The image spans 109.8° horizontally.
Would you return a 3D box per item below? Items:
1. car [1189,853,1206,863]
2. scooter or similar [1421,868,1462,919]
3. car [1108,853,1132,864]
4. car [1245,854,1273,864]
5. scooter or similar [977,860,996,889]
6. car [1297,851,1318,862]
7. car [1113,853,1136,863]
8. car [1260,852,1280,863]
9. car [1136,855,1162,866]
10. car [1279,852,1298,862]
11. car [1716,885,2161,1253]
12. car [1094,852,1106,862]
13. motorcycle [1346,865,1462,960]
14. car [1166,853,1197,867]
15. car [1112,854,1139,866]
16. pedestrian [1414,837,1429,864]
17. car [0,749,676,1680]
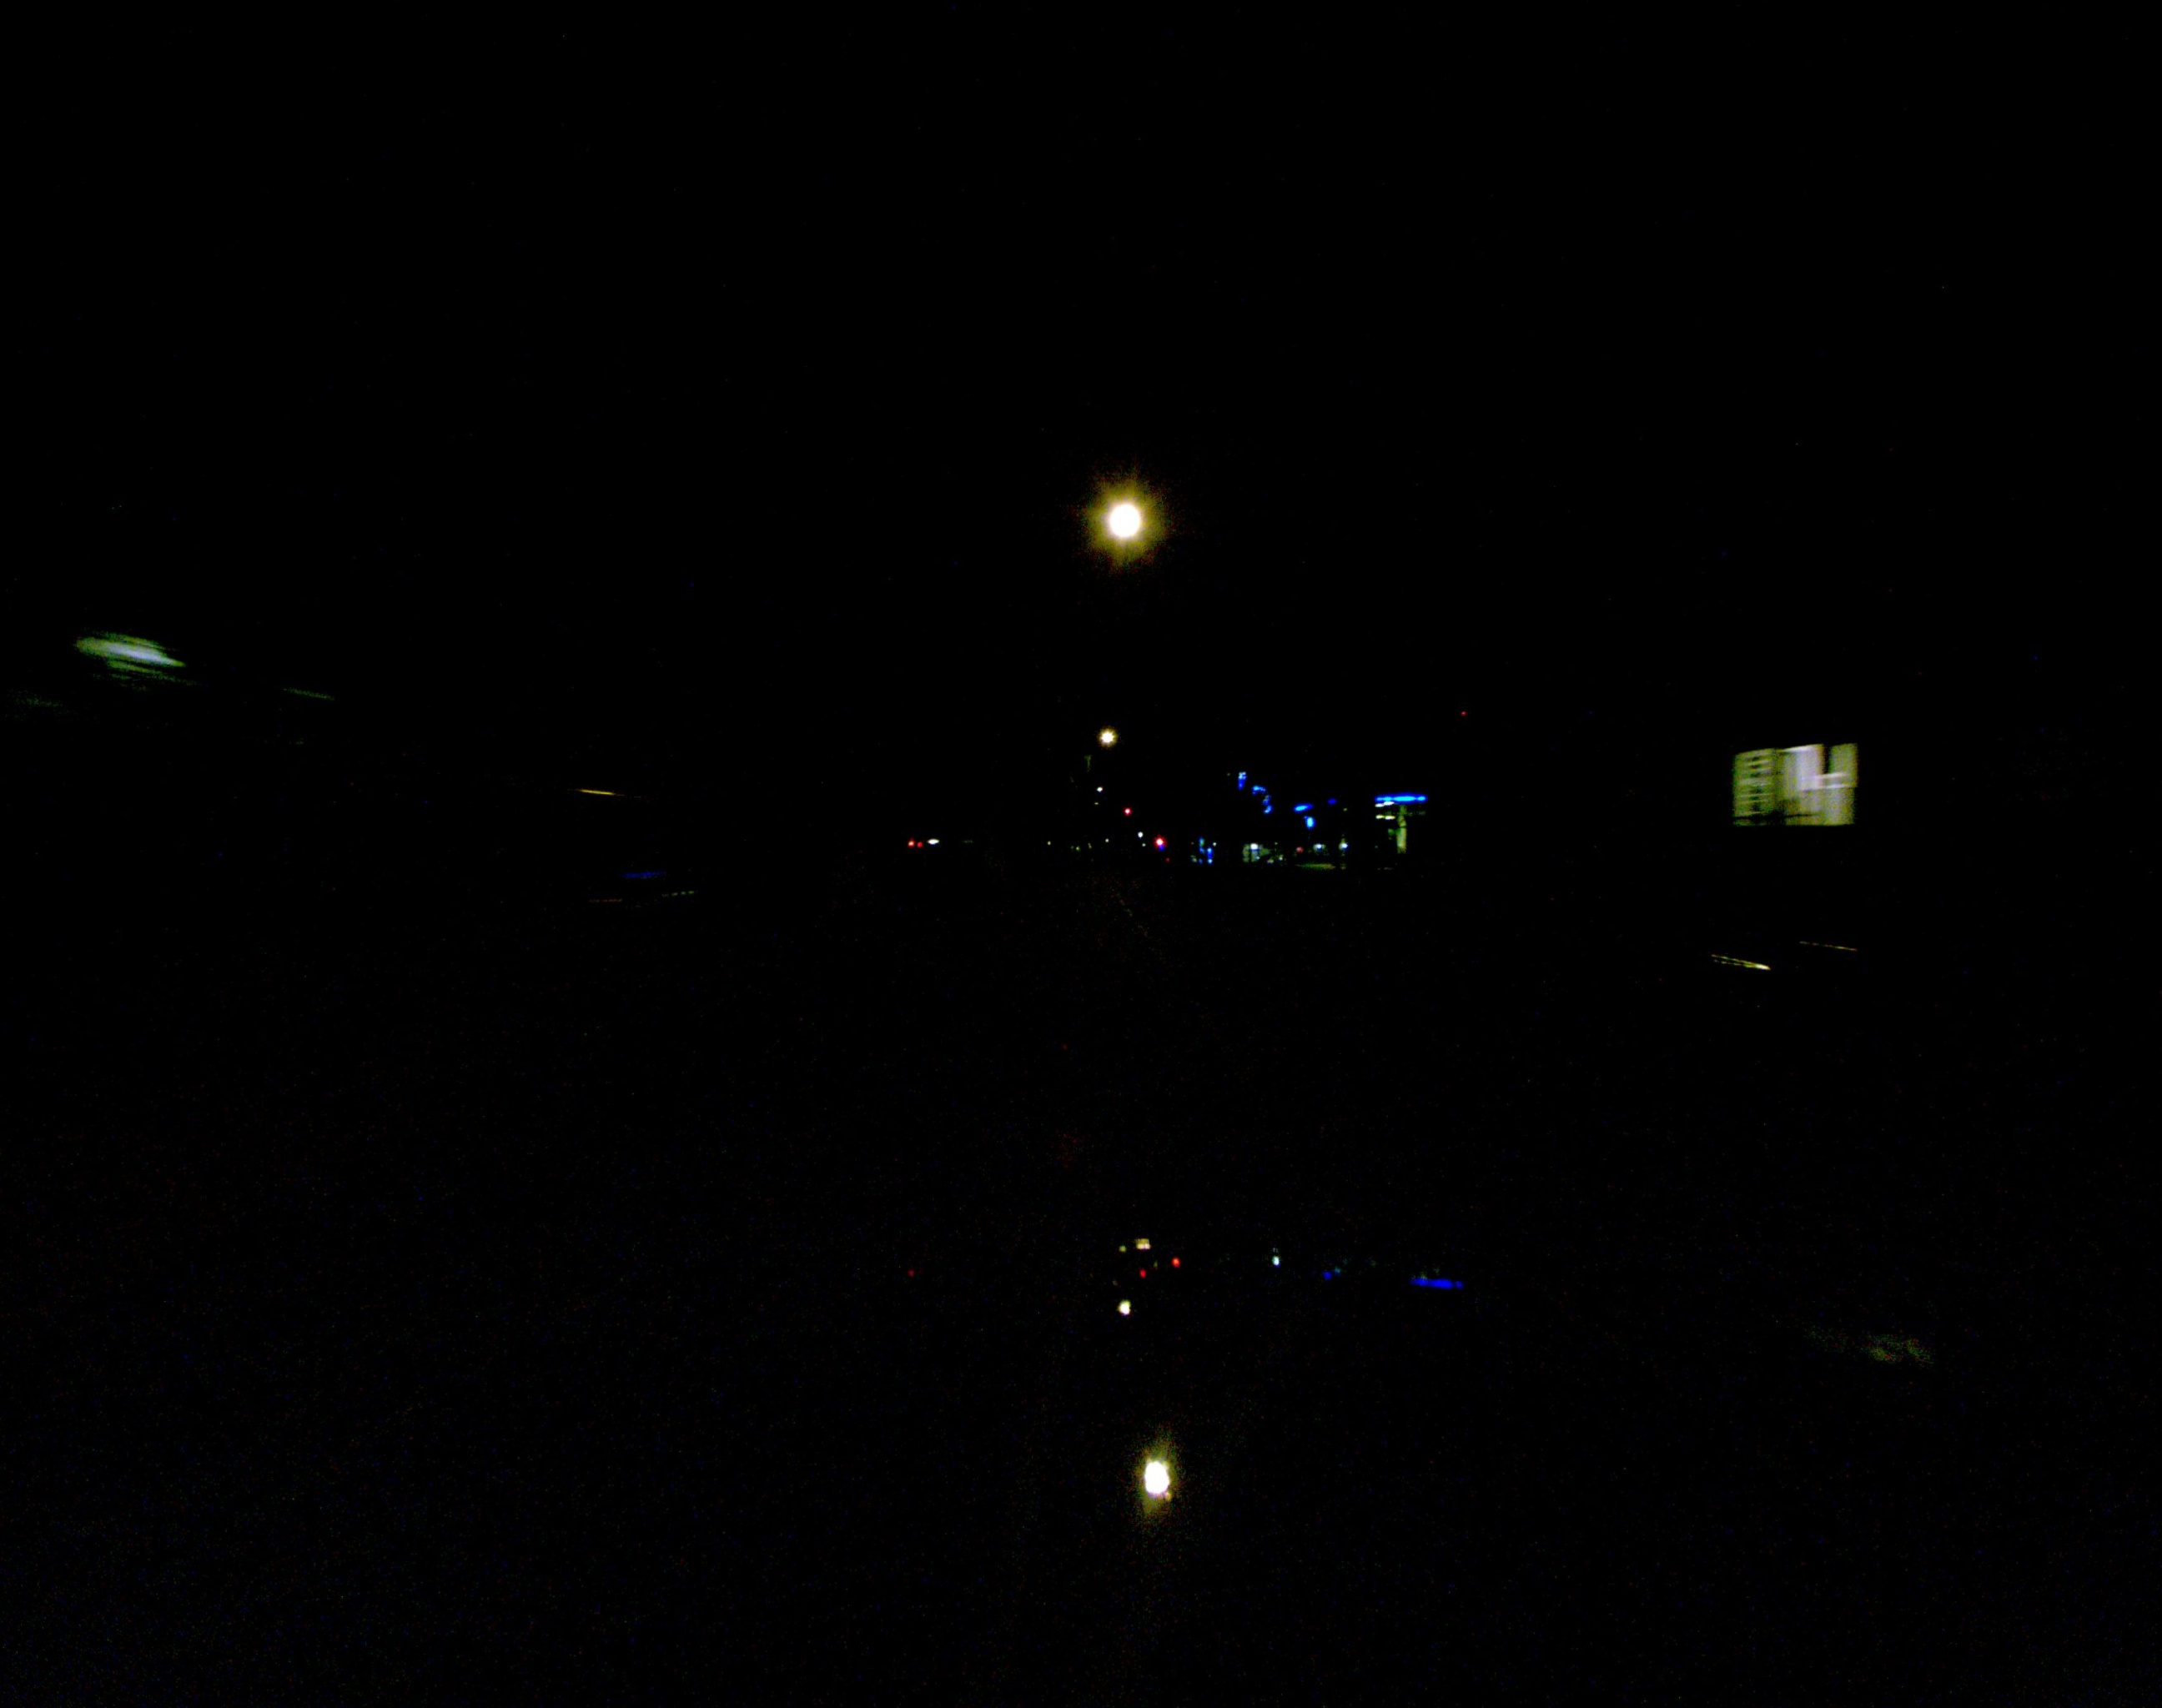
[{"bbox_3d":[17.039,0.565,111.198,1.864,1.452,4.070,-1,0,0],"label":"car"},{"bbox_3d":[9.081,0.975,19.172,0.368,1.197,1.427,0,1,1],"label":"scooter or similar"},{"bbox_3d":[6.473,0.702,125.577,3.848,1.781,1.634,1,1,-3],"label":"car"},{"bbox_3d":[28.136,0.834,120.198,4.281,1.469,1.730,-1,0,-27],"label":"car"},{"bbox_3d":[-4.415,0.937,35.522,0.548,1.196,1.910,2,2,1],"label":"scooter or similar"},{"bbox_3d":[33.094,0.375,111.186,1.864,1.469,4.086,-1,0,0],"label":"car"},{"bbox_3d":[6.866,0.596,120.604,3.576,1.619,1.620,1,1,-3],"label":"car"},{"bbox_3d":[27.600,0.472,111.128,1.864,1.469,4.354,-1,0,0],"label":"car"},{"bbox_3d":[10.324,1.013,115.621,3.763,1.576,1.634,1,1,-3],"label":"car"},{"bbox_3d":[30.328,0.410,111.200,1.732,1.469,4.086,-1,0,0],"label":"car"},{"bbox_3d":[5.672,1.019,3.831,1.646,1.495,3.903,-2,0,0],"label":"car"},{"bbox_3d":[3.178,0.537,130.177,1.936,1.646,3.833,0,0,0],"label":"car"},{"bbox_3d":[5.716,0.996,13.458,1.909,1.541,0.638,-2,1,-19],"label":"motorcycle"},{"bbox_3d":[13.685,0.821,103.439,4.082,1.848,1.853,0,1,1],"label":"car"},{"bbox_3d":[7.126,1.010,121.849,4.055,1.879,1.634,1,1,-3],"label":"car"},{"bbox_3d":[20.124,-0.225,44.881,0.577,1.596,0.643,-1,1,-1],"label":"pedestrian"},{"bbox_3d":[-3.249,0.756,1.973,1.956,1.952,4.603,0,0,-1],"label":"car"}]
